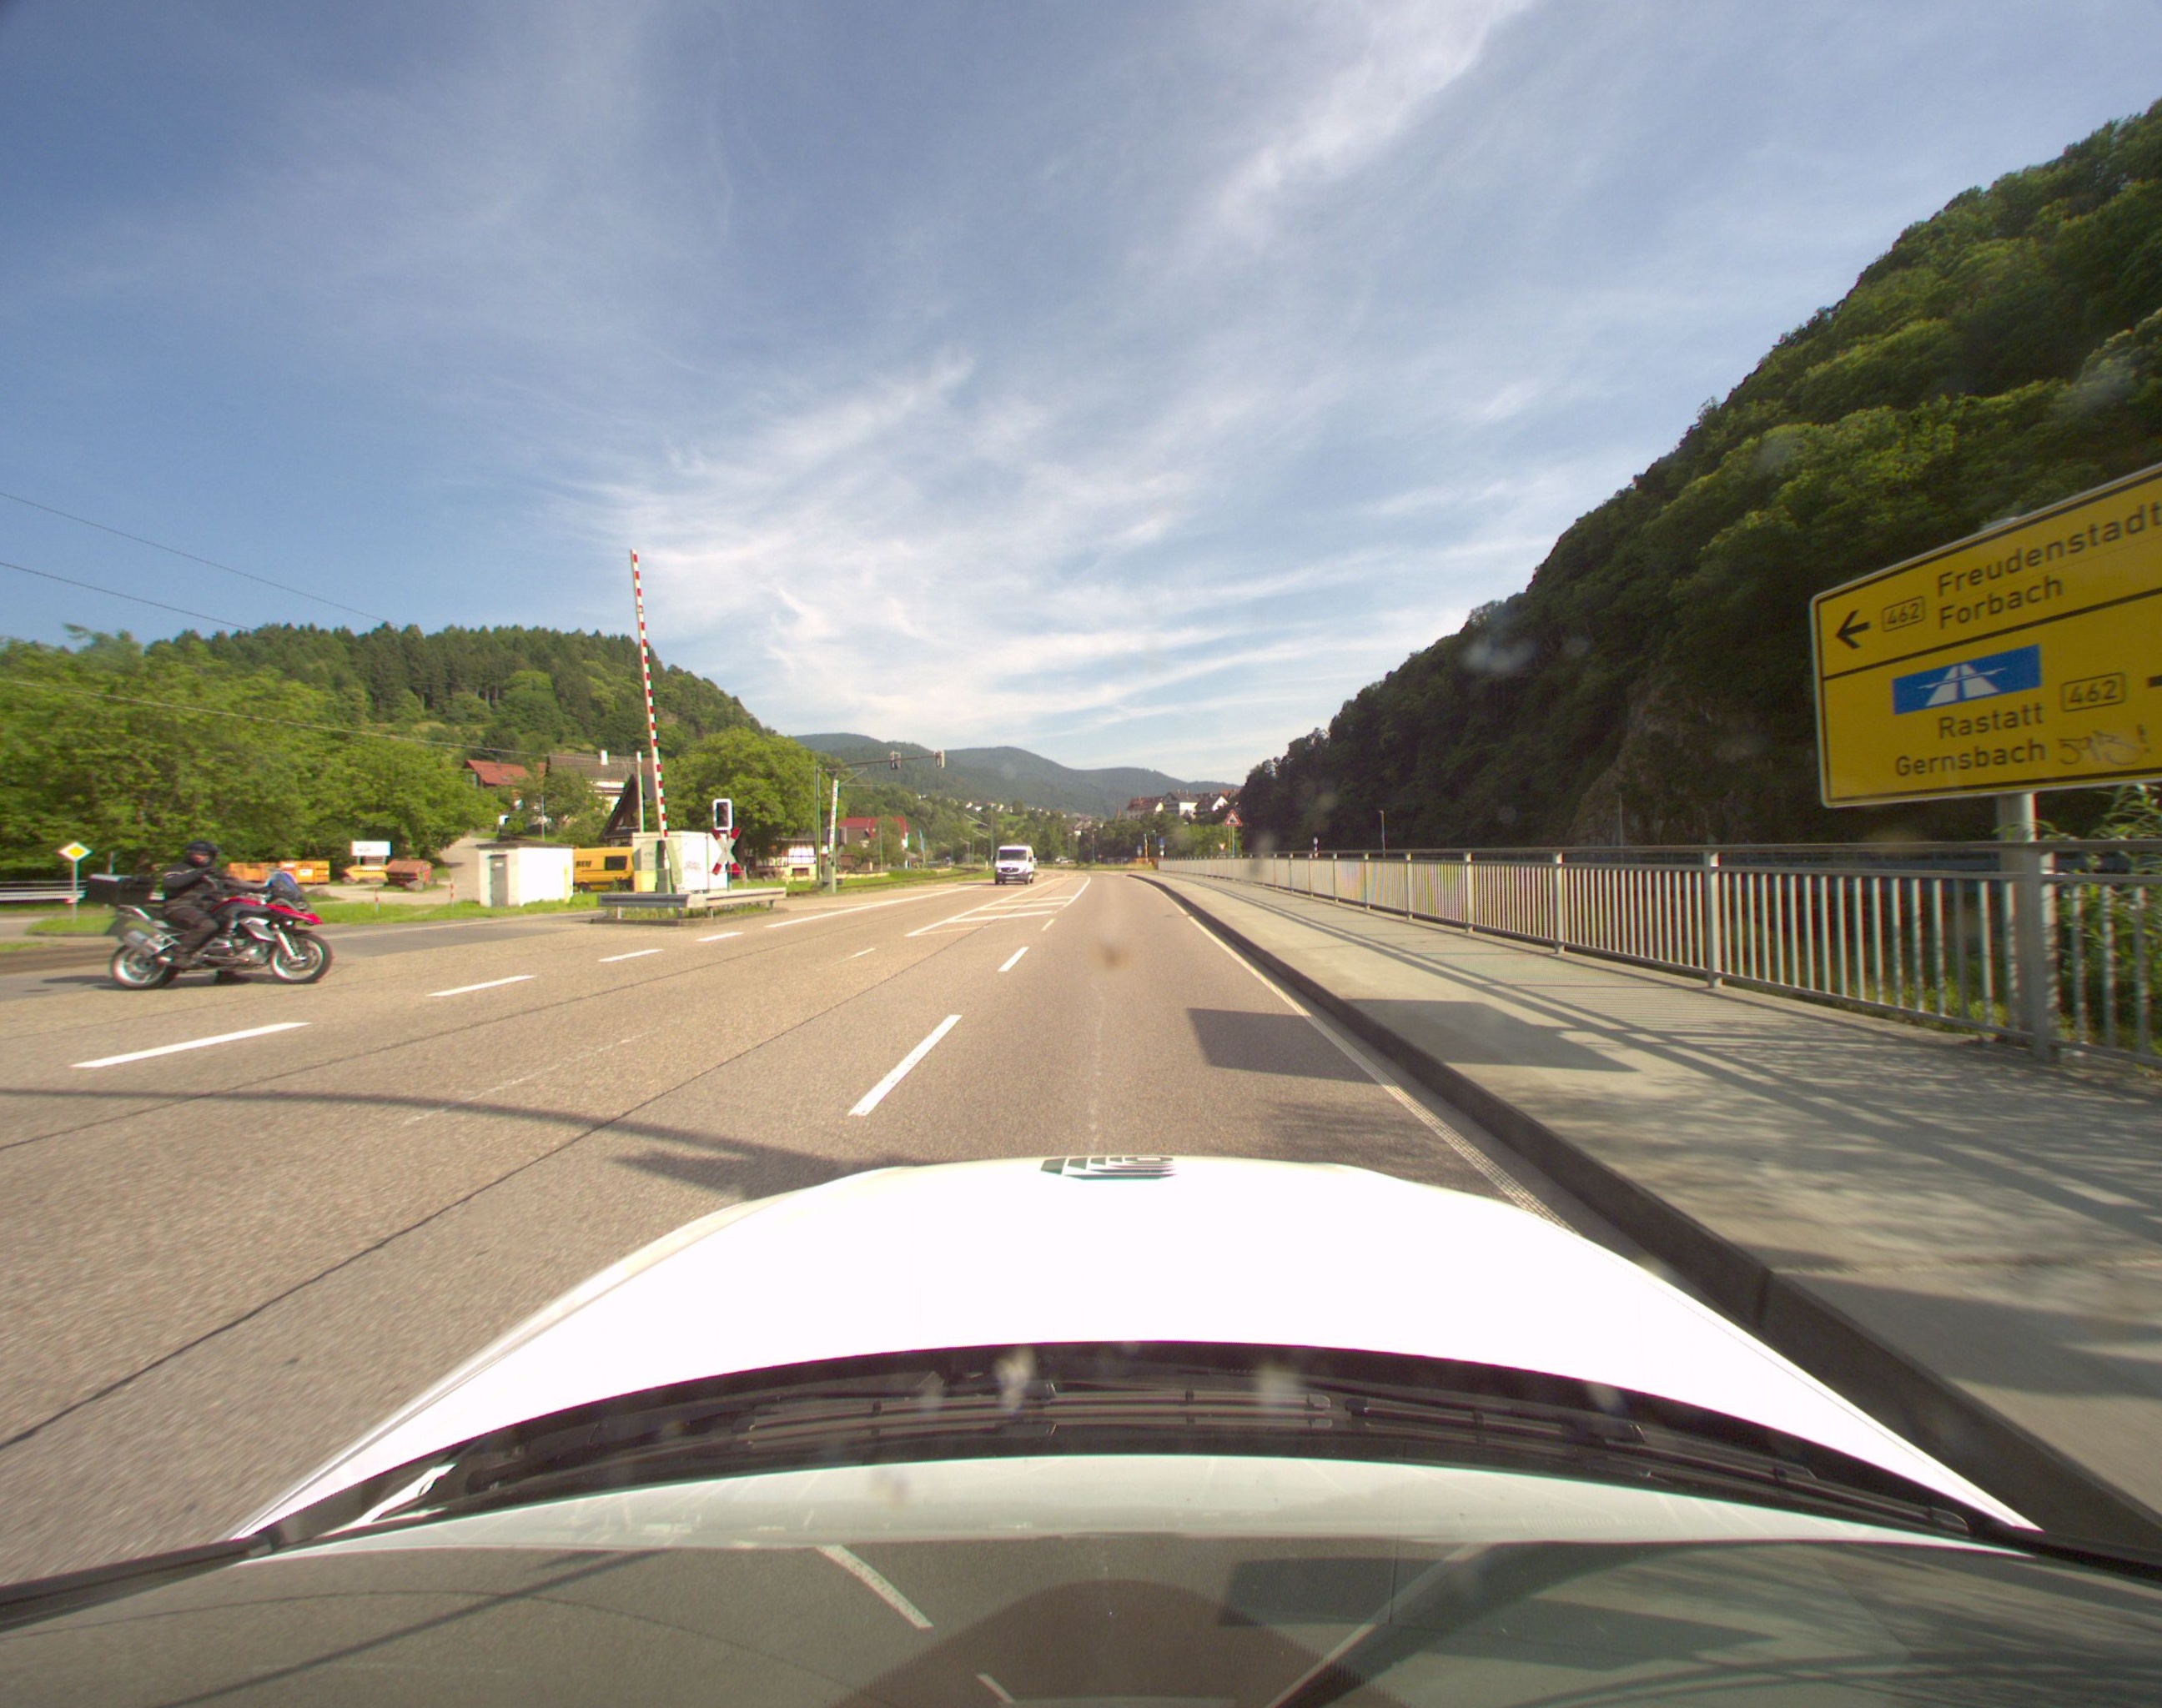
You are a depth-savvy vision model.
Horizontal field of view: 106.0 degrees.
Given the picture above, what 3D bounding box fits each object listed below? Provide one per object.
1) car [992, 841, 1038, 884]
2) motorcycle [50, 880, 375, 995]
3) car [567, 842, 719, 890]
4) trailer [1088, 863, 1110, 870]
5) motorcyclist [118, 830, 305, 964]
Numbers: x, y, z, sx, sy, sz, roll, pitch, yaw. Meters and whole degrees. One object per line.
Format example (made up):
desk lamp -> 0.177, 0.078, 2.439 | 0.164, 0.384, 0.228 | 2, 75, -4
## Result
car -> -3.899, 0.460, 49.175 | 2.111, 2.436, 5.231 | -1, 0, 2
motorcycle -> -10.530, 0.972, 10.023 | 2.588, 1.268, 1.001 | 0, -1, -13
car -> -24.122, 0.672, 44.990 | 7.019, 2.457, 2.957 | -1, 0, 10
trailer -> 3.896, 2.687, 177.670 | 2.792, 1.474, 9.851 | 0, -1, -10
motorcyclist -> -10.604, 0.502, 10.002 | 1.183, 1.544, 0.987 | 1, -1, -13
